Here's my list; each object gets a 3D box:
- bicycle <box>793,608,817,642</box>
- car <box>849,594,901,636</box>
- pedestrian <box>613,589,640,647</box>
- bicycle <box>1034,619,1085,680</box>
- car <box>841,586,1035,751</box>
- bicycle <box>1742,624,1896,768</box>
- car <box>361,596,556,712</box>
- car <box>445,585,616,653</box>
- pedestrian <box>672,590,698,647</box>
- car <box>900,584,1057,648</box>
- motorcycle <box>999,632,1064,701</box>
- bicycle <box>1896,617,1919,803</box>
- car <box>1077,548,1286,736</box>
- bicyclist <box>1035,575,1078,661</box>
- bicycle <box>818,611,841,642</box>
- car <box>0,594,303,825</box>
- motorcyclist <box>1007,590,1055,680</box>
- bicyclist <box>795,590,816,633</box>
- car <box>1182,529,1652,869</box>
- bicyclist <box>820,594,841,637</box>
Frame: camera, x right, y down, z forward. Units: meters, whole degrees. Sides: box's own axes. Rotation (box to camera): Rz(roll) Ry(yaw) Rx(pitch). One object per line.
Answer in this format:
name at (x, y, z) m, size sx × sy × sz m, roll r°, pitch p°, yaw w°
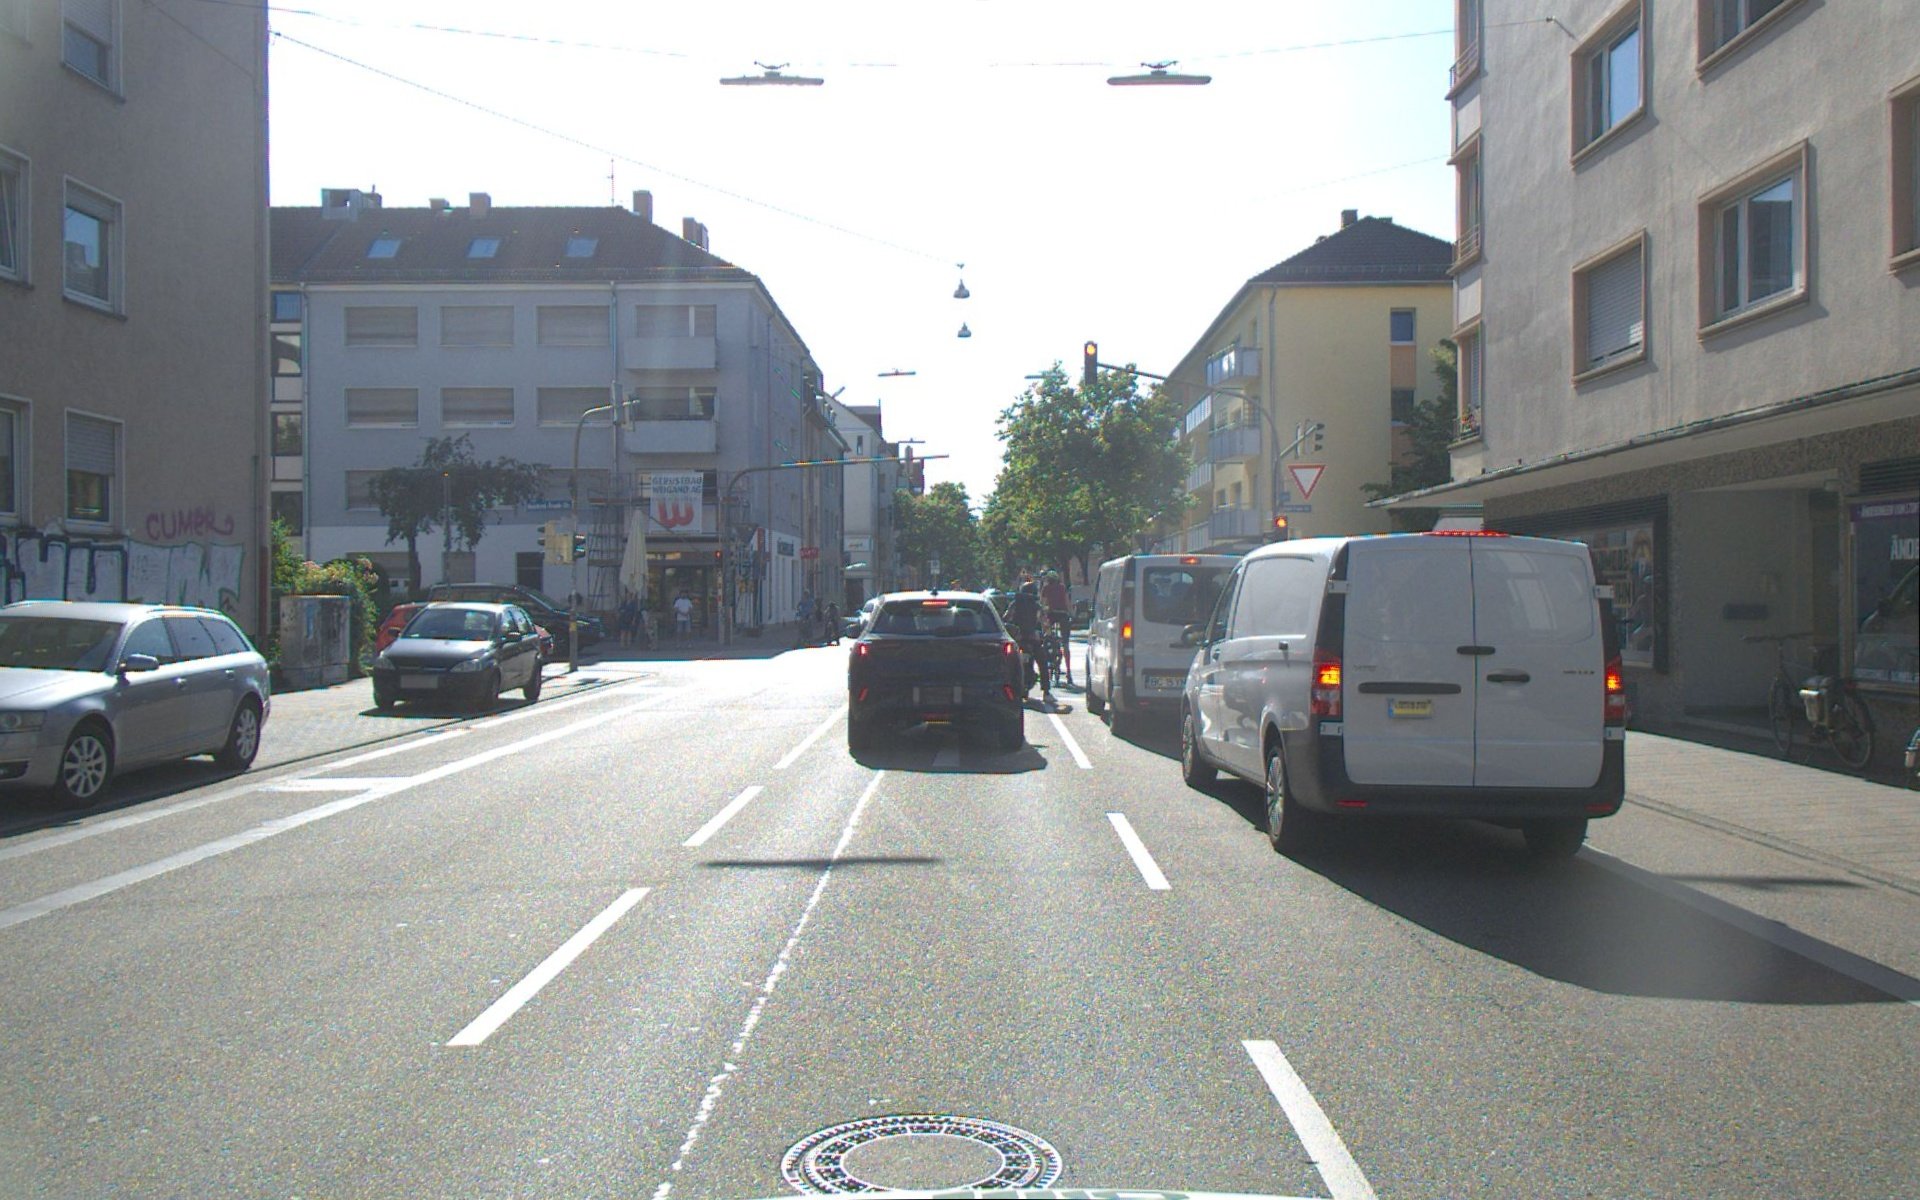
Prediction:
bicycle at (-5.137, 0.826, 54.880) m, size 0.552 × 1.104 × 1.104 m, roll 0°, pitch 0°, yaw 8°
car at (-2.905, 0.498, 57.397) m, size 1.585 × 1.422 × 3.731 m, roll 0°, pitch 0°, yaw 0°
pedestrian at (-9.834, 0.537, 48.789) m, size 0.670 × 1.693 × 0.601 m, roll 0°, pitch 0°, yaw -1°
bicycle at (1.717, 0.841, 28.759) m, size 0.759 × 1.009 × 1.717 m, roll 0°, pitch 0°, yaw -1°
car at (-0.235, 0.637, 17.546) m, size 1.807 × 1.534 × 3.999 m, roll 0°, pitch 0°, yaw -1°
bicycle at (7.455, 0.806, 14.425) m, size 0.513 × 1.138 × 1.534 m, roll -2°, pitch 0°, yaw 0°
car at (-7.128, 0.709, 23.901) m, size 1.619 × 1.505 × 3.999 m, roll 1°, pitch 0°, yaw -1°
car at (-10.709, 0.464, 41.418) m, size 3.907 × 1.654 × 1.543 m, roll 0°, pitch 0°, yaw -3°
pedestrian at (-8.230, 0.551, 49.461) m, size 0.670 × 1.693 × 0.601 m, roll 0°, pitch 0°, yaw -1°
car at (0.516, 0.413, 45.766) m, size 3.950 × 1.668 × 1.977 m, roll 0°, pitch 0°, yaw -33°
motorcycle at (1.003, 0.923, 23.491) m, size 0.791 × 0.878 × 1.822 m, roll 2°, pitch 0°, yaw -1°
bicycle at (6.945, 0.766, 11.179) m, size 0.465 × 1.296 × 1.218 m, roll -3°, pitch 0°, yaw 0°
car at (2.483, 0.430, 19.602) m, size 1.779 × 1.955 × 4.643 m, roll 0°, pitch 0°, yaw -1°
bicyclist at (1.682, 0.313, 28.883) m, size 0.670 × 1.474 × 0.940 m, roll 0°, pitch 0°, yaw -1°
bicycle at (-4.330, 0.868, 54.791) m, size 0.524 × 1.023 × 1.111 m, roll -1°, pitch 0°, yaw 8°
car at (-7.208, 0.729, 13.513) m, size 1.740 × 1.495 × 4.759 m, roll 2°, pitch 0°, yaw 0°
motorcyclist at (1.000, 0.494, 23.525) m, size 0.645 × 1.248 × 0.694 m, roll 1°, pitch -1°, yaw 1°
bicyclist at (-5.137, 0.381, 54.989) m, size 0.534 × 1.405 × 0.521 m, roll 1°, pitch -1°, yaw 8°
car at (2.810, 0.534, 11.324) m, size 1.944 × 1.854 × 4.546 m, roll 0°, pitch 0°, yaw 0°
bicyclist at (-4.294, 0.519, 54.998) m, size 0.557 × 1.394 × 0.584 m, roll -1°, pitch -1°, yaw 8°
